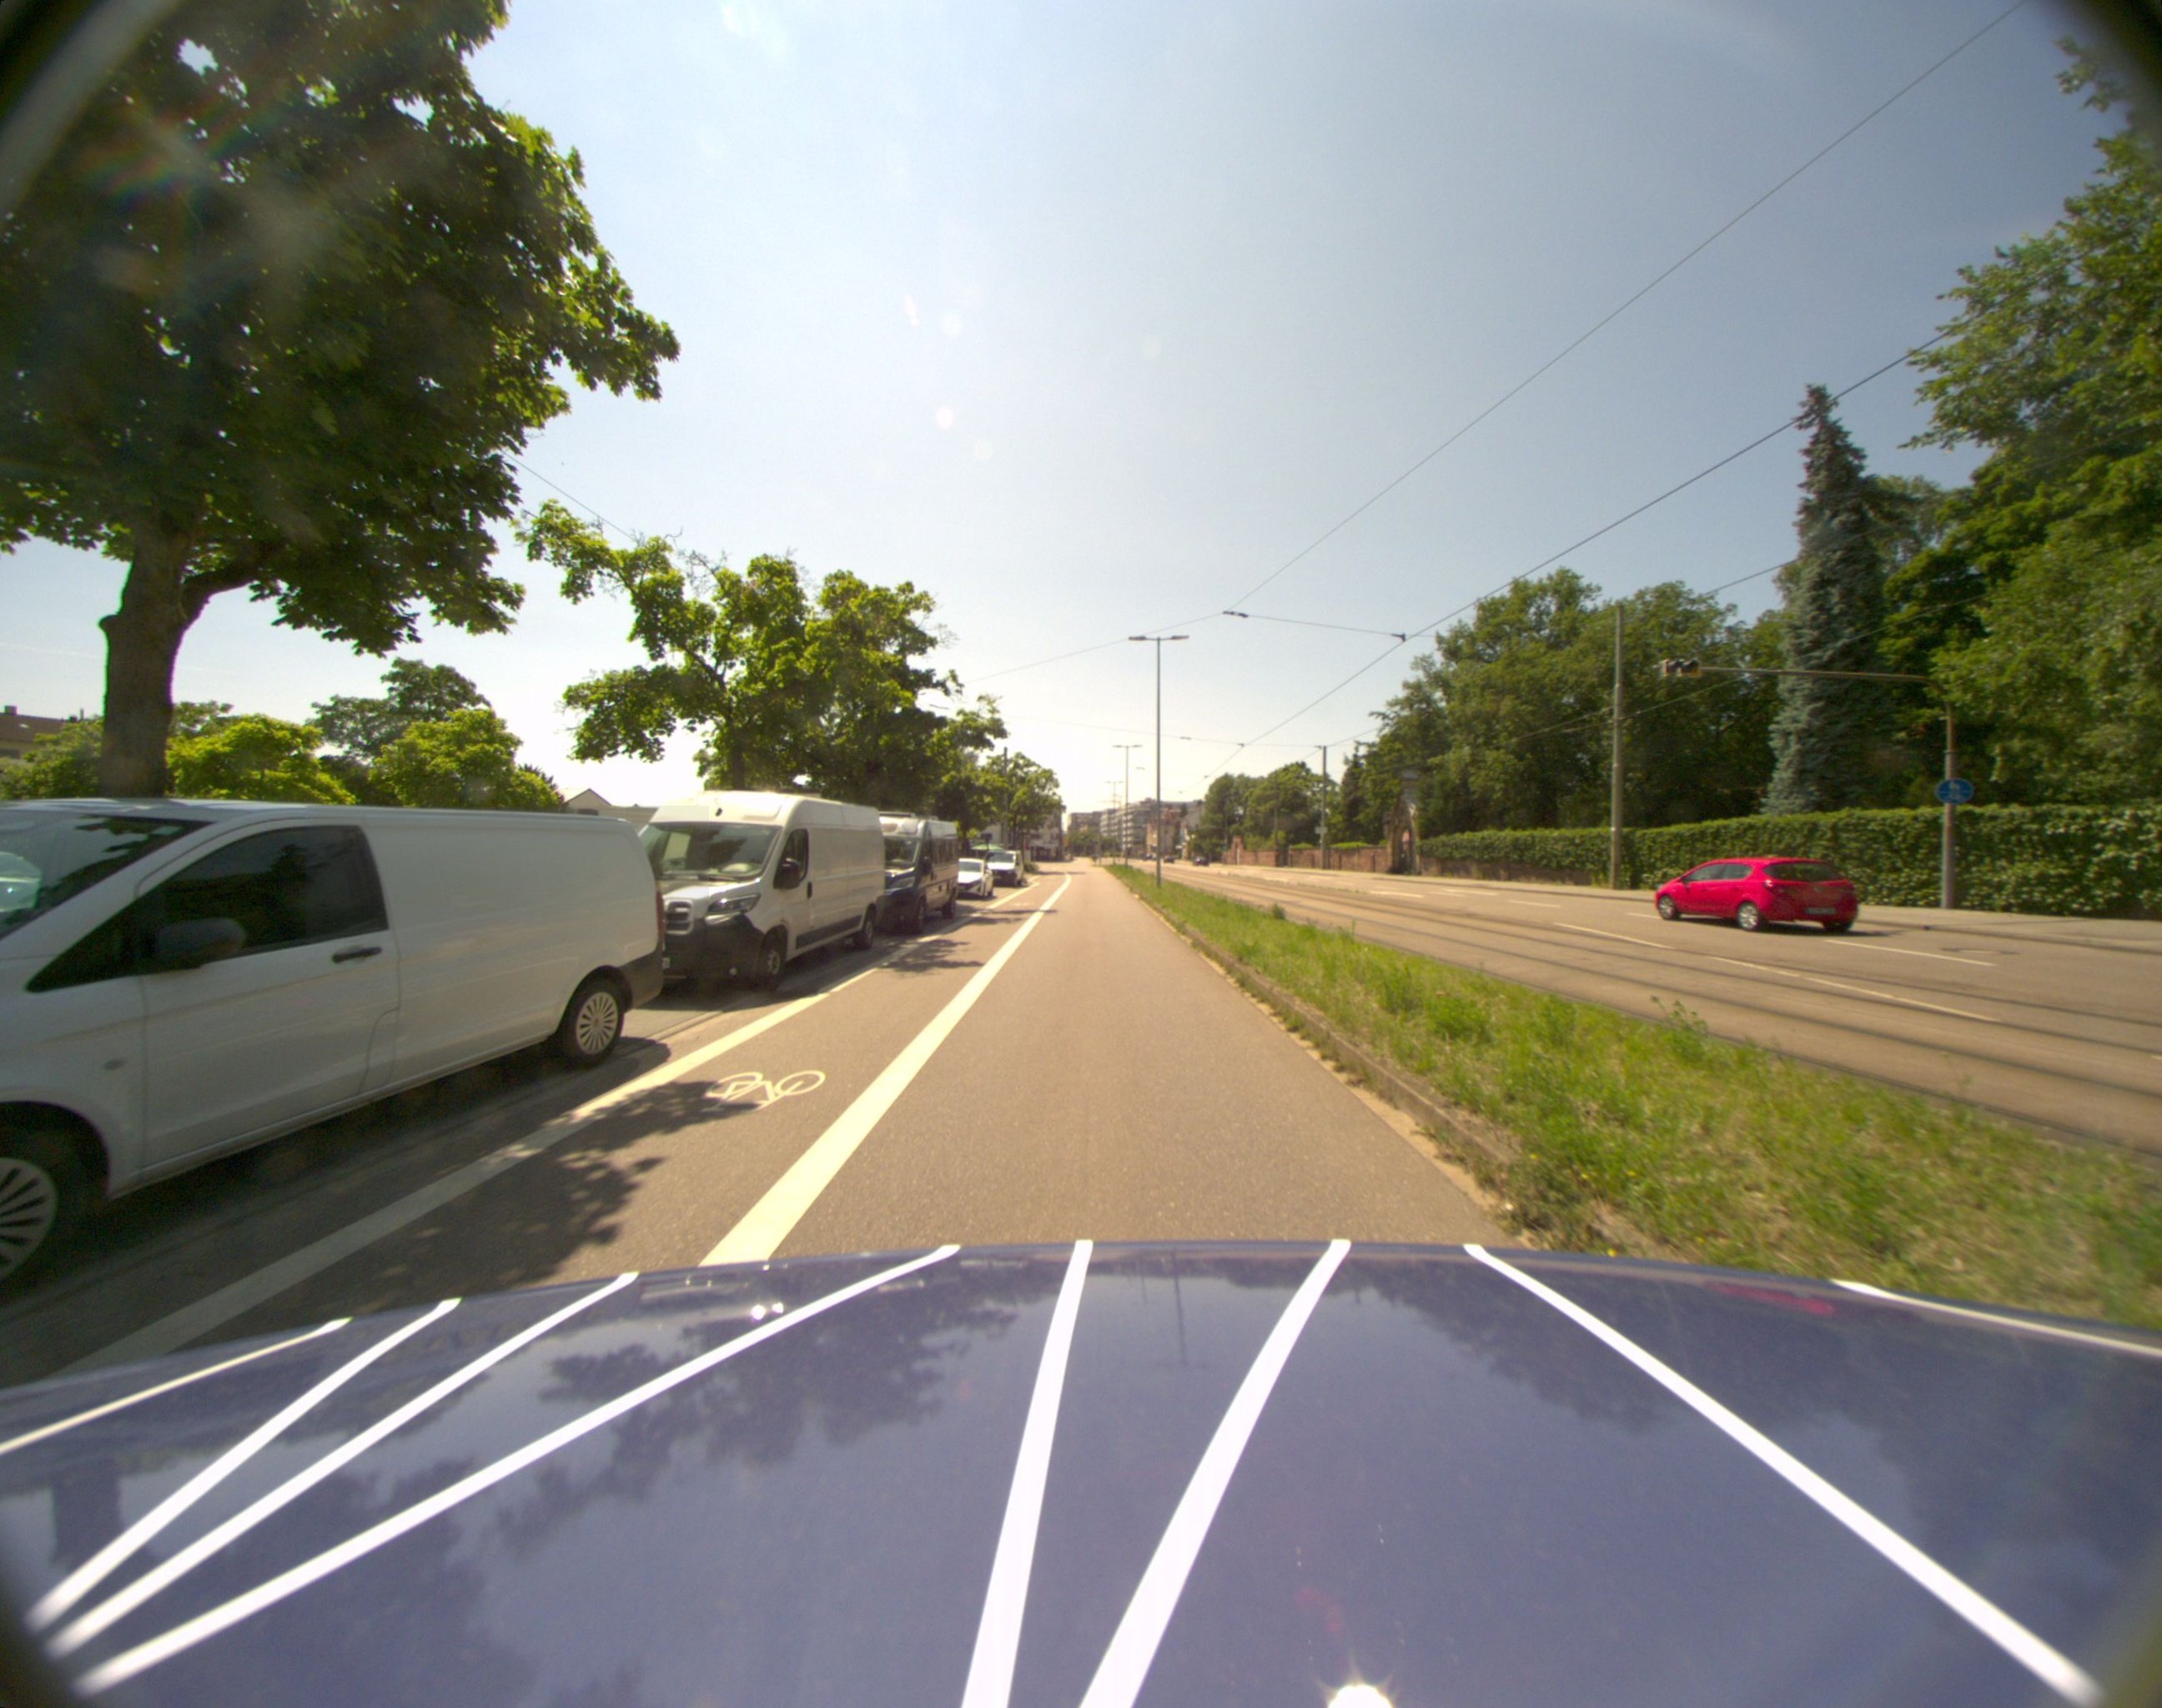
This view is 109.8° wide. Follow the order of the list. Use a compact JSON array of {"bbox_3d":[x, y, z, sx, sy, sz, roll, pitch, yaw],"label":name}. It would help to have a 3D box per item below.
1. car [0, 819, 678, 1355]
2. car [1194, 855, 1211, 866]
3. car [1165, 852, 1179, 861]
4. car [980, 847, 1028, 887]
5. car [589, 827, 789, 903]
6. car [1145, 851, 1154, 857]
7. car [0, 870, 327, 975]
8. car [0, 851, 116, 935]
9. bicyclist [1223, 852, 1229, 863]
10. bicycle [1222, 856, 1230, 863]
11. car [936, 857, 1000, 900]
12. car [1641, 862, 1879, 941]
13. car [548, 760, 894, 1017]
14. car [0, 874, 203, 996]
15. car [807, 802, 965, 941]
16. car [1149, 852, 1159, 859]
[{"bbox_3d":[-4.700,0.787,4.121,2.002,1.867,5.276,2,0,2],"label":"car"},{"bbox_3d":[16.381,0.891,102.638,1.760,1.440,4.123,-2,0,2],"label":"car"},{"bbox_3d":[16.813,0.429,140.396,1.845,1.408,5.033,-3,0,1],"label":"car"},{"bbox_3d":[-4.046,0.643,40.682,1.884,1.905,5.124,2,0,1],"label":"car"},{"bbox_3d":[-14.695,0.401,28.748,6.355,2.514,2.263,-2,1,3],"label":"car"},{"bbox_3d":[16.886,0.066,186.391,1.845,1.546,4.465,0,0,0],"label":"car"},{"bbox_3d":[-14.977,1.055,12.182,3.896,1.398,1.727,-2,1,-2],"label":"car"},{"bbox_3d":[-27.348,0.870,18.499,5.109,1.865,2.095,1,1,1],"label":"car"},{"bbox_3d":[20.324,0.457,106.666,0.654,1.488,0.662,-1,1,-1],"label":"bicyclist"},{"bbox_3d":[20.326,0.802,106.641,0.654,0.951,2.114,-1,0,-1],"label":"bicycle"},{"bbox_3d":[-4.263,0.888,29.144,1.726,1.419,4.209,2,0,1],"label":"car"},{"bbox_3d":[14.281,0.923,16.370,1.709,1.405,4.284,-1,0,8],"label":"car"},{"bbox_3d":[-4.535,0.361,11.029,2.003,2.621,6.142,2,0,0],"label":"car"},{"bbox_3d":[-14.543,1.075,9.911,3.897,1.398,1.727,-2,1,-4],"label":"car"},{"bbox_3d":[-4.237,0.333,17.720,2.003,2.621,6.078,2,0,0],"label":"car"},{"bbox_3d":[16.320,0.320,170.433,1.845,1.408,4.710,-3,0,1],"label":"car"}]
